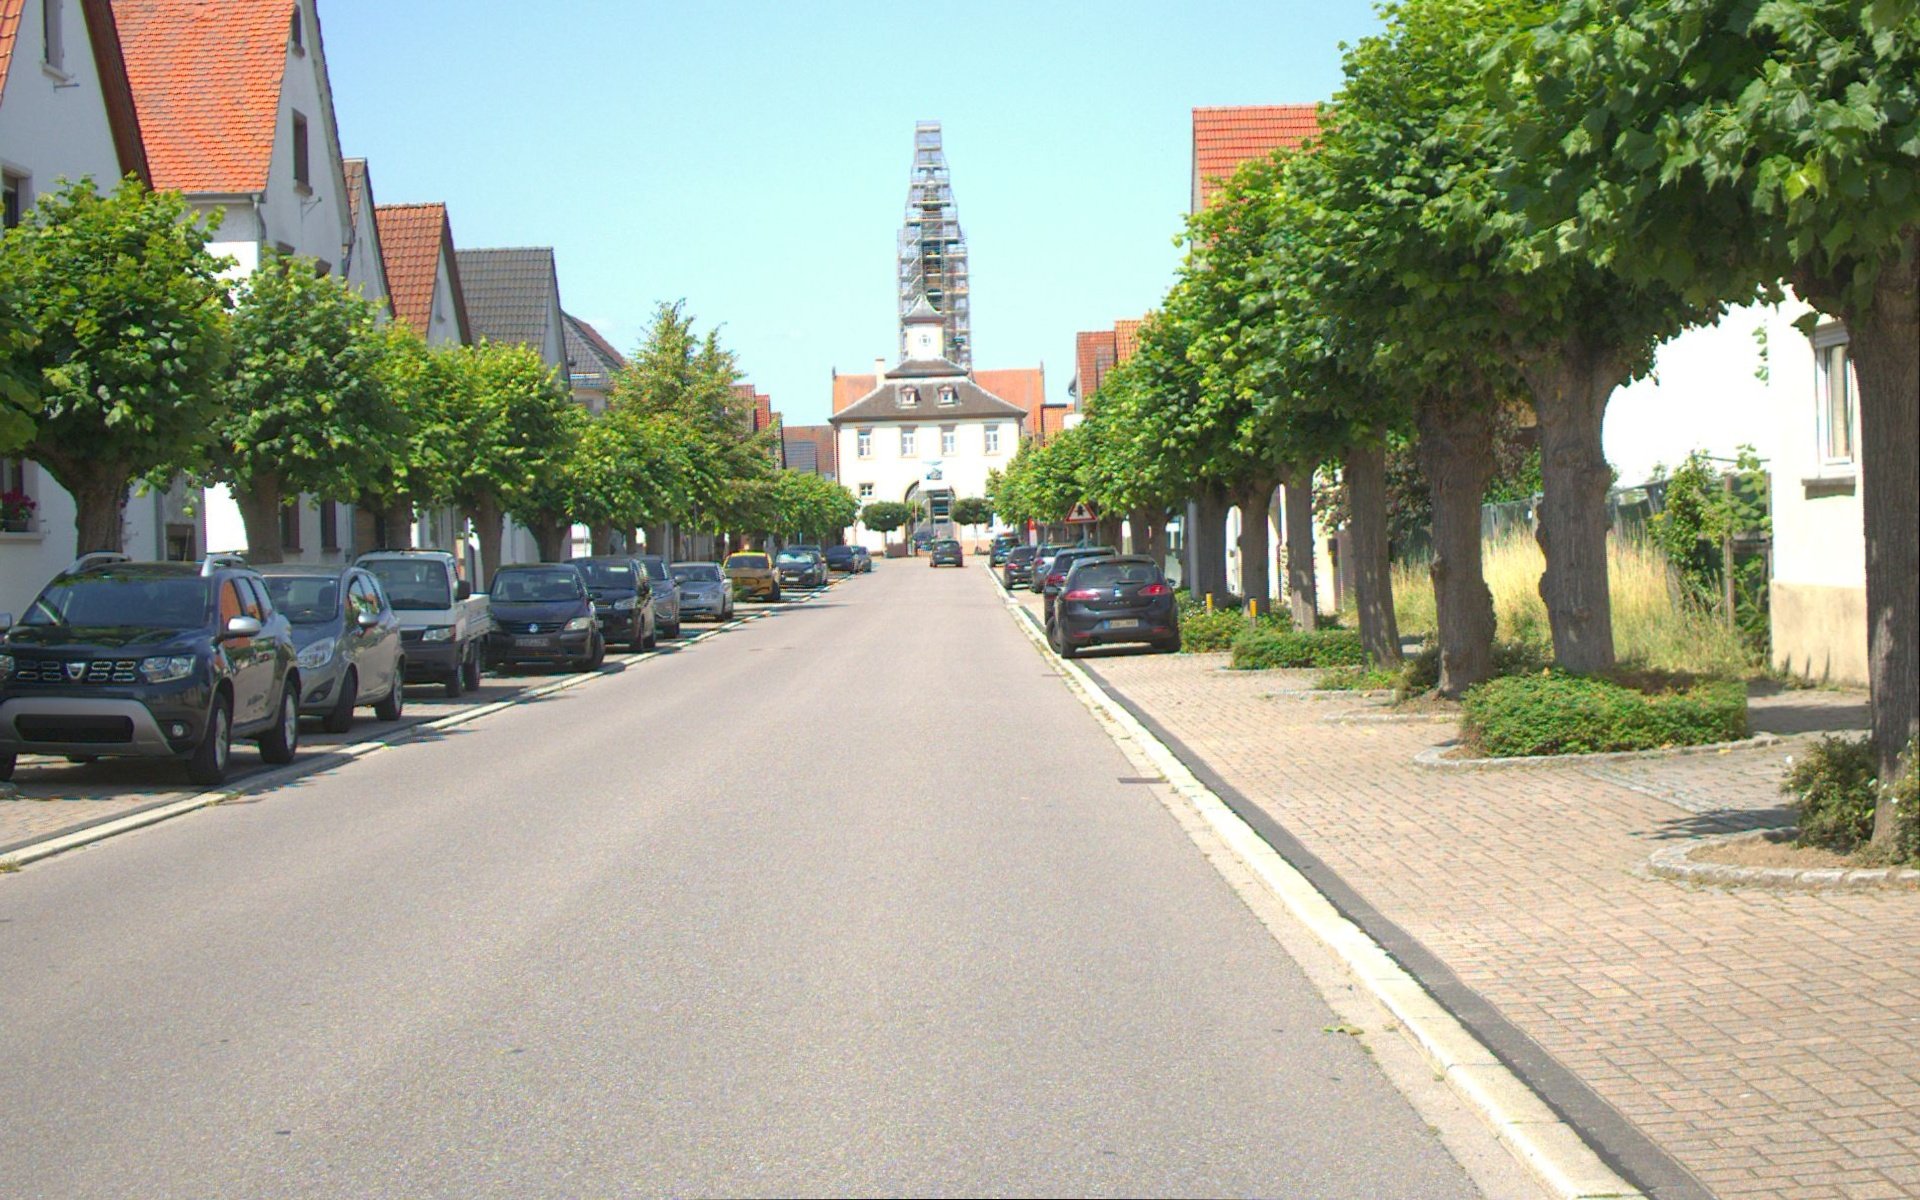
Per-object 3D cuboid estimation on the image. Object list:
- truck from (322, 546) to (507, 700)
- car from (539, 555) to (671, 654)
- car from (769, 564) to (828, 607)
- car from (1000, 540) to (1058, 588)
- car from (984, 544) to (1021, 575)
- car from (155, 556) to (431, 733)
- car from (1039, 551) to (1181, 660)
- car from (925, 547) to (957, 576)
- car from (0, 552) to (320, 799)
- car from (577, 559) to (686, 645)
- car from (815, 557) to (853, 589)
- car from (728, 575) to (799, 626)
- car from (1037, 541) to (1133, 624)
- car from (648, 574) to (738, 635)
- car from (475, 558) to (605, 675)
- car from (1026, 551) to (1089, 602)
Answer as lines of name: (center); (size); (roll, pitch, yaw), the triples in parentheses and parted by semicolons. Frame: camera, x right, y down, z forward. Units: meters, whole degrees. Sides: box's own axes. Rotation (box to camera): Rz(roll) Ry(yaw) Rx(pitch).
truck: (-6.599, 0.249, 41.951); (1.576, 1.759, 4.192); (1, 0, 0)
car: (-6.090, 0.063, 59.349); (1.853, 1.629, 4.057); (0, 0, 0)
car: (-6.304, -0.578, 134.613); (1.993, 1.606, 4.689); (0, 1, 1)
car: (2.384, -1.268, 120.311); (1.837, 1.550, 4.314); (-3, 1, 0)
car: (2.252, -2.148, 183.135); (1.837, 1.550, 4.314); (-3, 1, 1)
car: (-6.474, 0.399, 33.805); (1.853, 1.607, 4.371); (1, 0, 0)
car: (2.175, 0.053, 50.801); (1.824, 1.427, 4.057); (-3, 1, 0)
car: (-1.024, -2.099, 188.395); (1.729, 1.542, 3.455); (0, 0, 0)
car: (-6.166, 0.493, 25.957); (1.853, 1.631, 4.299); (1, 1, 0)
car: (-6.519, 0.004, 68.558); (1.993, 1.647, 4.368); (0, 1, -3)
car: (-6.492, -1.413, 177.539); (1.757, 1.550, 4.020); (-1, 1, 1)
car: (-6.449, -0.005, 113.071); (1.993, 1.606, 4.689); (0, 1, 1)
car: (2.651, -0.389, 72.163); (1.824, 1.580, 4.056); (-3, 1, 4)
car: (-6.402, 0.099, 82.817); (1.840, 1.391, 4.406); (-1, 1, 0)
car: (-6.112, 0.213, 50.402); (1.785, 1.628, 4.001); (0, 0, -5)
car: (3.181, -0.779, 112.656); (1.837, 1.602, 4.000); (-1, 1, -1)
